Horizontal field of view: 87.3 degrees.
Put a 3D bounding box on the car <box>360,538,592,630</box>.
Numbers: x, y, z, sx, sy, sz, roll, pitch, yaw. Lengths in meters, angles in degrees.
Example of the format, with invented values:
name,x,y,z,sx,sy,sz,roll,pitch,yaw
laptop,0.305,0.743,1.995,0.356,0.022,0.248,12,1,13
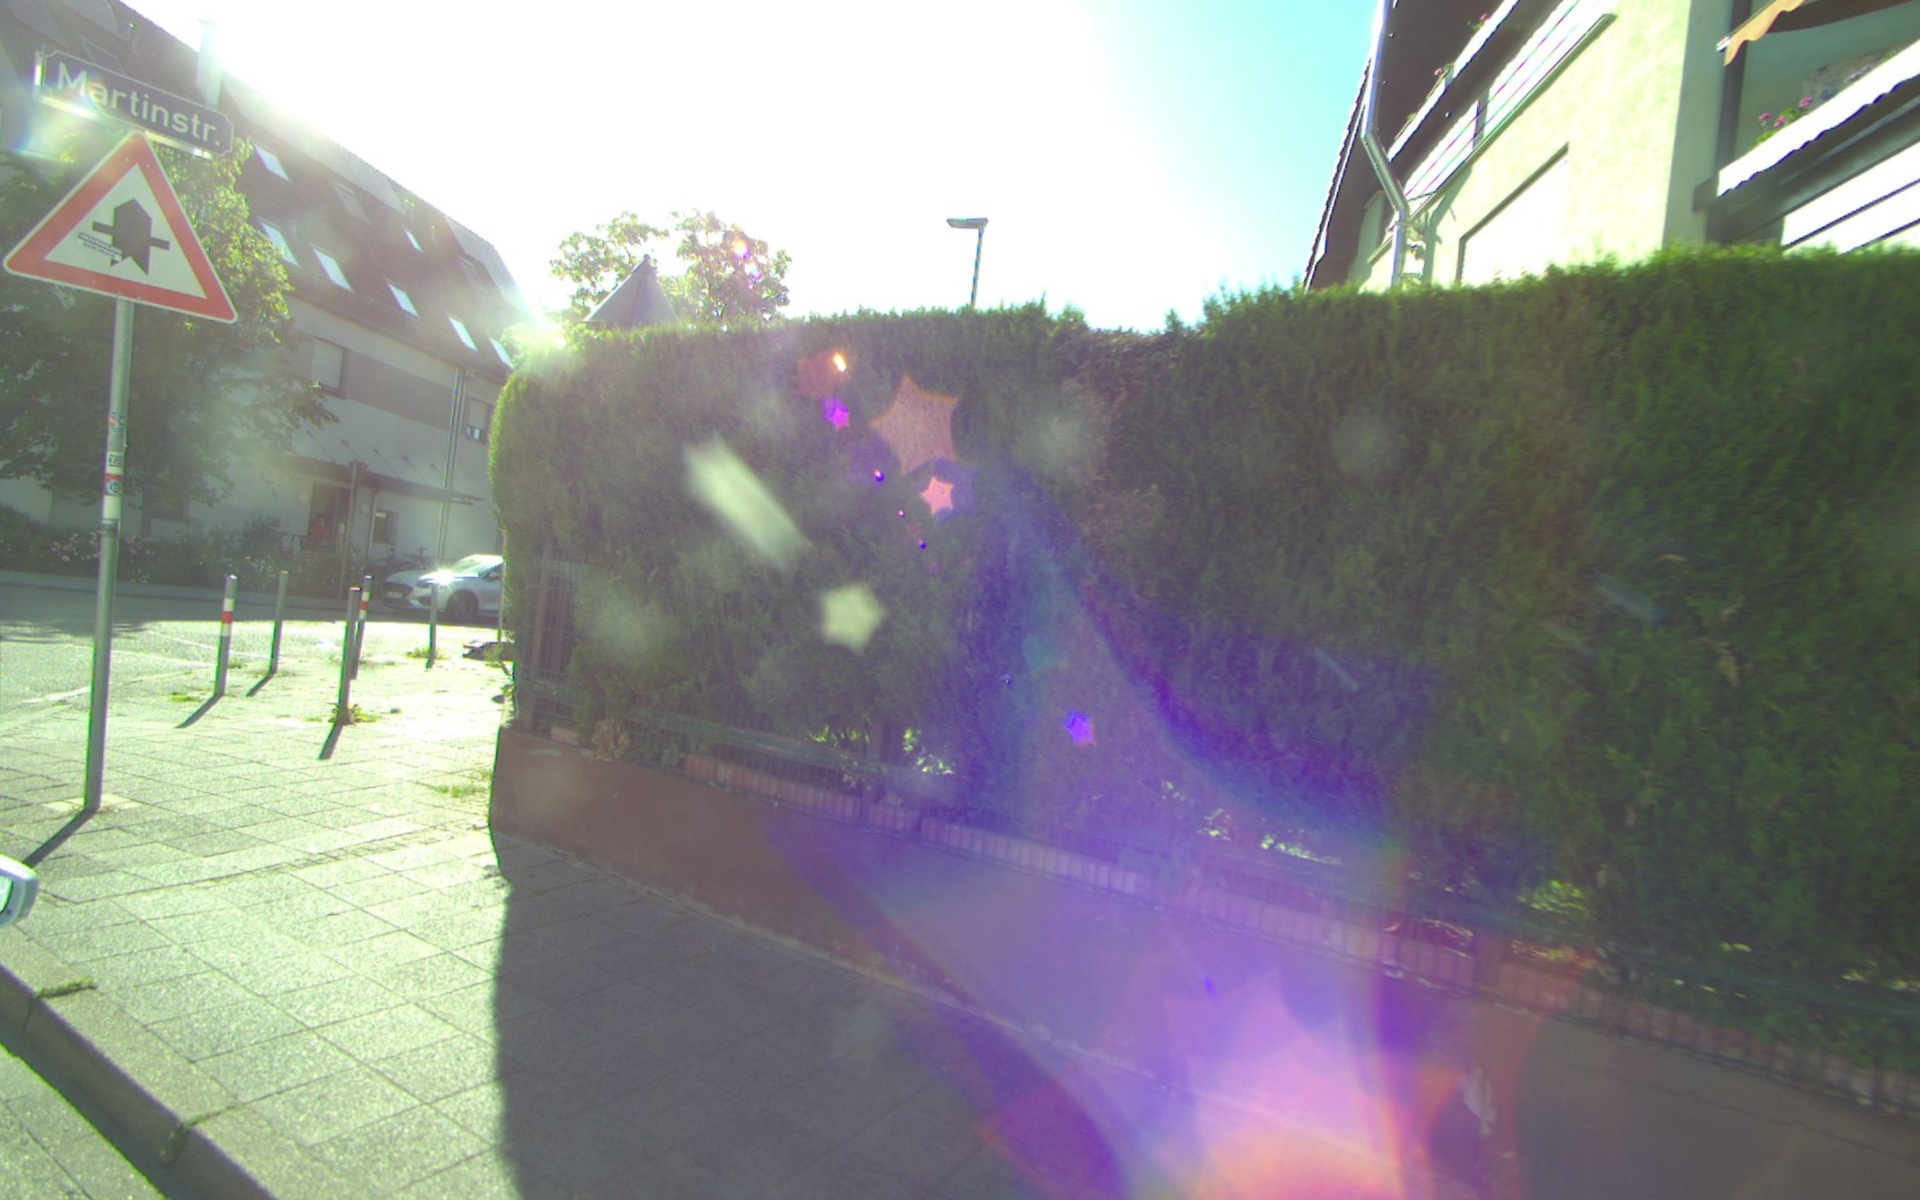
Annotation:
name,x,y,z,sx,sy,sz,roll,pitch,yaw
car,-10.310,-0.268,21.806,1.781,1.512,4.303,7,0,23

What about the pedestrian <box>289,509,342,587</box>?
name,x,y,z,sx,sy,sz,roll,pitch,yaw
pedestrian,-17.998,-1.439,28.111,0.752,2.038,0.775,7,1,17

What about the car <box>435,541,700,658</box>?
name,x,y,z,sx,sy,sz,roll,pitch,yaw
car,-6.514,0.079,17.274,1.780,1.612,4.305,6,-1,19
